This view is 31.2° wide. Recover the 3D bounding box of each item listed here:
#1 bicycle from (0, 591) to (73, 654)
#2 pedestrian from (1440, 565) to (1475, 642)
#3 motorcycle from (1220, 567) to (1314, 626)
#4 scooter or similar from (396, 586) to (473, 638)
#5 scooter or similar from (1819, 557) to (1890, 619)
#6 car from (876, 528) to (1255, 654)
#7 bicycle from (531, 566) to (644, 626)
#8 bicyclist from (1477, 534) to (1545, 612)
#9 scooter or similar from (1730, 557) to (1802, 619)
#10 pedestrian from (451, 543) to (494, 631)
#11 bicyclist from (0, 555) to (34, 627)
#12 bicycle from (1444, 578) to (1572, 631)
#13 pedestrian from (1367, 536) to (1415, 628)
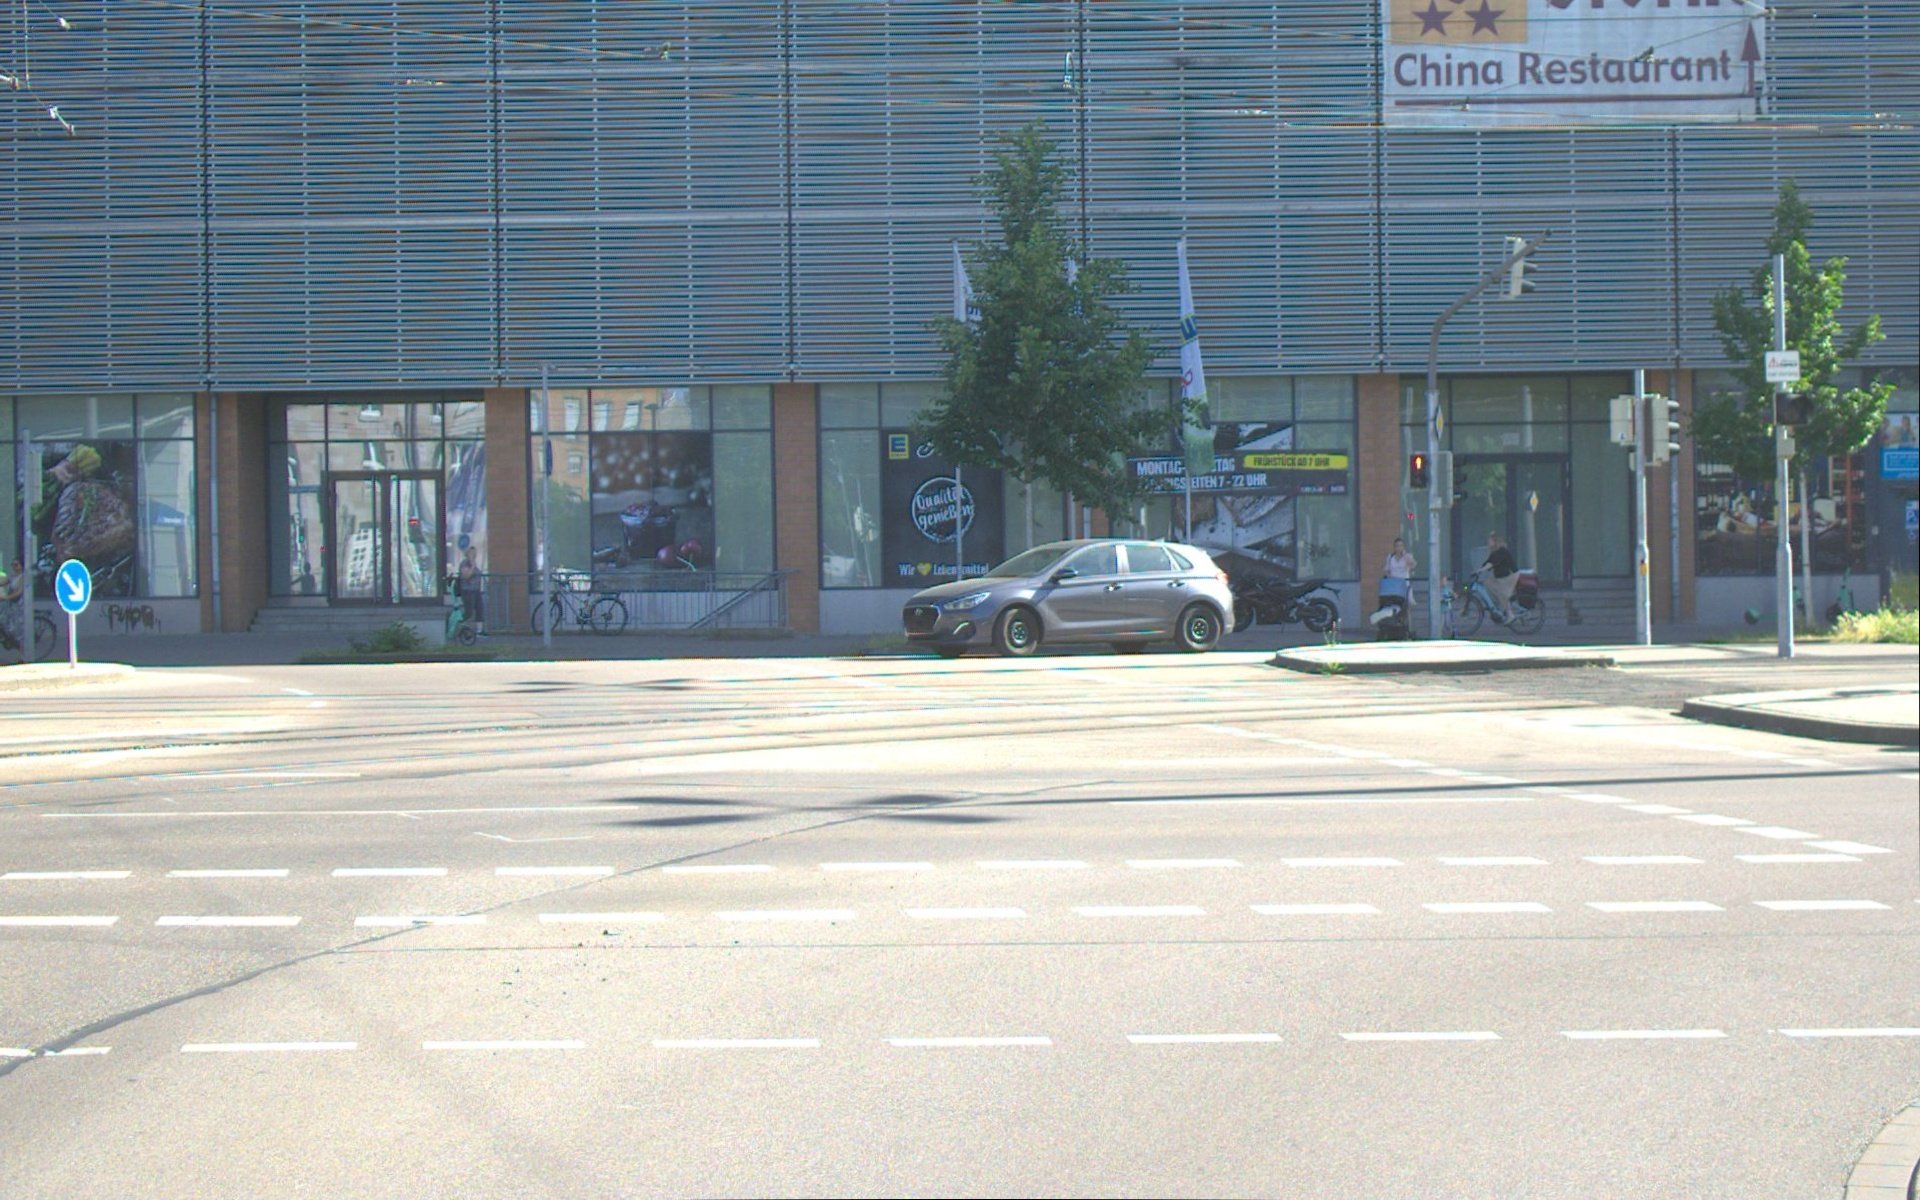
[{"bbox_3d":[-15.197,0.355,54.706,2.015,0.982,0.560,-1,1,-33],"label":"bicycle"},{"bbox_3d":[7.907,0.055,54.618,0.397,1.225,0.448,0,1,33],"label":"pedestrian"},{"bbox_3d":[5.414,-0.065,60.617,1.614,1.035,0.402,-1,1,1],"label":"motorcycle"},{"bbox_3d":[-8.609,0.195,56.334,1.223,0.848,0.301,-1,1,-3],"label":"scooter or similar"},{"bbox_3d":[16.085,-0.220,61.821,1.202,1.099,0.277,1,0,2],"label":"scooter or similar"},{"bbox_3d":[1.319,-0.136,42.963,4.295,1.494,2.000,-1,1,-27],"label":"car"},{"bbox_3d":[-6.555,-0.067,60.587,1.944,1.035,0.573,-1,1,-4],"label":"bicycle"},{"bbox_3d":[9.351,-0.462,58.364,1.036,1.314,0.682,-1,1,-1],"label":"bicyclist"},{"bbox_3d":[14.457,-0.222,61.664,1.202,1.099,0.277,1,0,2],"label":"scooter or similar"},{"bbox_3d":[-8.487,-0.232,59.858,0.647,1.514,0.491,-1,1,5],"label":"pedestrian"},{"bbox_3d":[-15.122,-0.150,54.763,0.562,1.136,0.560,-1,1,-33],"label":"bicyclist"},{"bbox_3d":[9.295,0.072,58.365,2.041,0.864,0.682,-1,1,-1],"label":"bicycle"},{"bbox_3d":[6.976,-0.291,55.606,0.739,1.482,0.490,0,1,10],"label":"pedestrian"}]
